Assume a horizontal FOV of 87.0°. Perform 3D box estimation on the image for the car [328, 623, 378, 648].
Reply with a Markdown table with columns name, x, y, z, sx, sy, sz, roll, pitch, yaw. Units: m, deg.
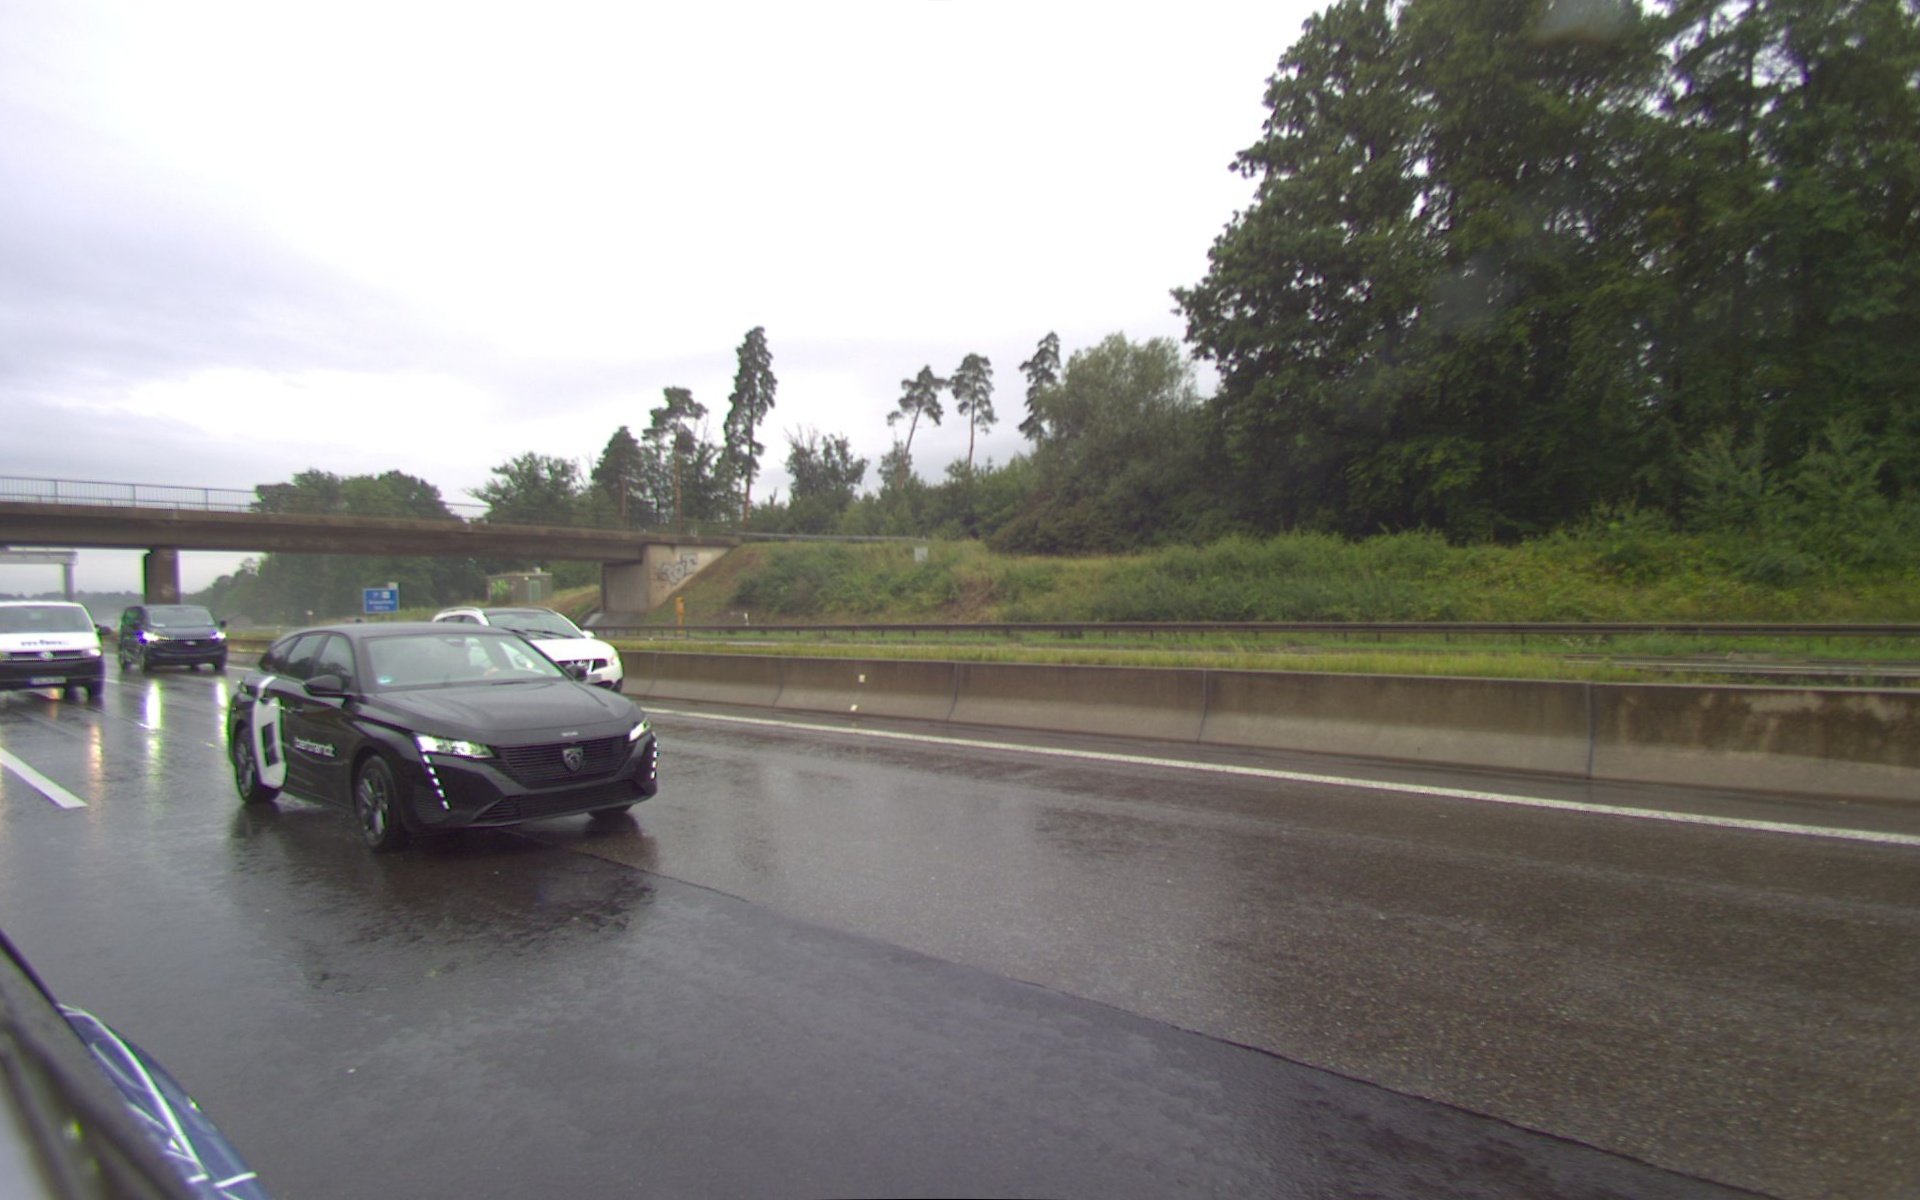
| name | x | y | z | sx | sy | sz | roll | pitch | yaw |
| --- | --- | --- | --- | --- | --- | --- | --- | --- | --- |
| car | -40.588 | 2.368 | 67.637 | 3.943 | 1.603 | 1.826 | -2 | -1 | 42 |

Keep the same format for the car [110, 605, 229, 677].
| name | x | y | z | sx | sy | sz | roll | pitch | yaw |
| --- | --- | --- | --- | --- | --- | --- | --- | --- | --- |
| car | -23.909 | 1.168 | 30.529 | 5.241 | 1.958 | 1.970 | -1 | 0 | 42 |

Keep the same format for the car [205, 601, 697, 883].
| name | x | y | z | sx | sy | sz | roll | pitch | yaw |
| --- | --- | --- | --- | --- | --- | --- | --- | --- | --- |
| car | -4.057 | 0.815 | 7.675 | 4.465 | 1.516 | 1.826 | -2 | -1 | 42 |

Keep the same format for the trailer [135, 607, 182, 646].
| name | x | y | z | sx | sy | sz | roll | pitch | yaw |
| --- | --- | --- | --- | --- | --- | --- | --- | --- | --- |
| trailer | -104.025 | 3.439 | 131.227 | 13.351 | 4.850 | 3.169 | -2 | -1 | 44 |

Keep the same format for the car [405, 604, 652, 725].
| name | x | y | z | sx | sy | sz | roll | pitch | yaw |
| --- | --- | --- | --- | --- | --- | --- | --- | --- | --- |
| car | -6.850 | 0.922 | 15.821 | 4.465 | 1.603 | 1.826 | -2 | -1 | 42 |

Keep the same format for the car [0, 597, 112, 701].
| name | x | y | z | sx | sy | sz | roll | pitch | yaw |
| --- | --- | --- | --- | --- | --- | --- | --- | --- | --- |
| car | -18.856 | 0.943 | 20.457 | 4.765 | 1.894 | 1.969 | -2 | -1 | 42 |
